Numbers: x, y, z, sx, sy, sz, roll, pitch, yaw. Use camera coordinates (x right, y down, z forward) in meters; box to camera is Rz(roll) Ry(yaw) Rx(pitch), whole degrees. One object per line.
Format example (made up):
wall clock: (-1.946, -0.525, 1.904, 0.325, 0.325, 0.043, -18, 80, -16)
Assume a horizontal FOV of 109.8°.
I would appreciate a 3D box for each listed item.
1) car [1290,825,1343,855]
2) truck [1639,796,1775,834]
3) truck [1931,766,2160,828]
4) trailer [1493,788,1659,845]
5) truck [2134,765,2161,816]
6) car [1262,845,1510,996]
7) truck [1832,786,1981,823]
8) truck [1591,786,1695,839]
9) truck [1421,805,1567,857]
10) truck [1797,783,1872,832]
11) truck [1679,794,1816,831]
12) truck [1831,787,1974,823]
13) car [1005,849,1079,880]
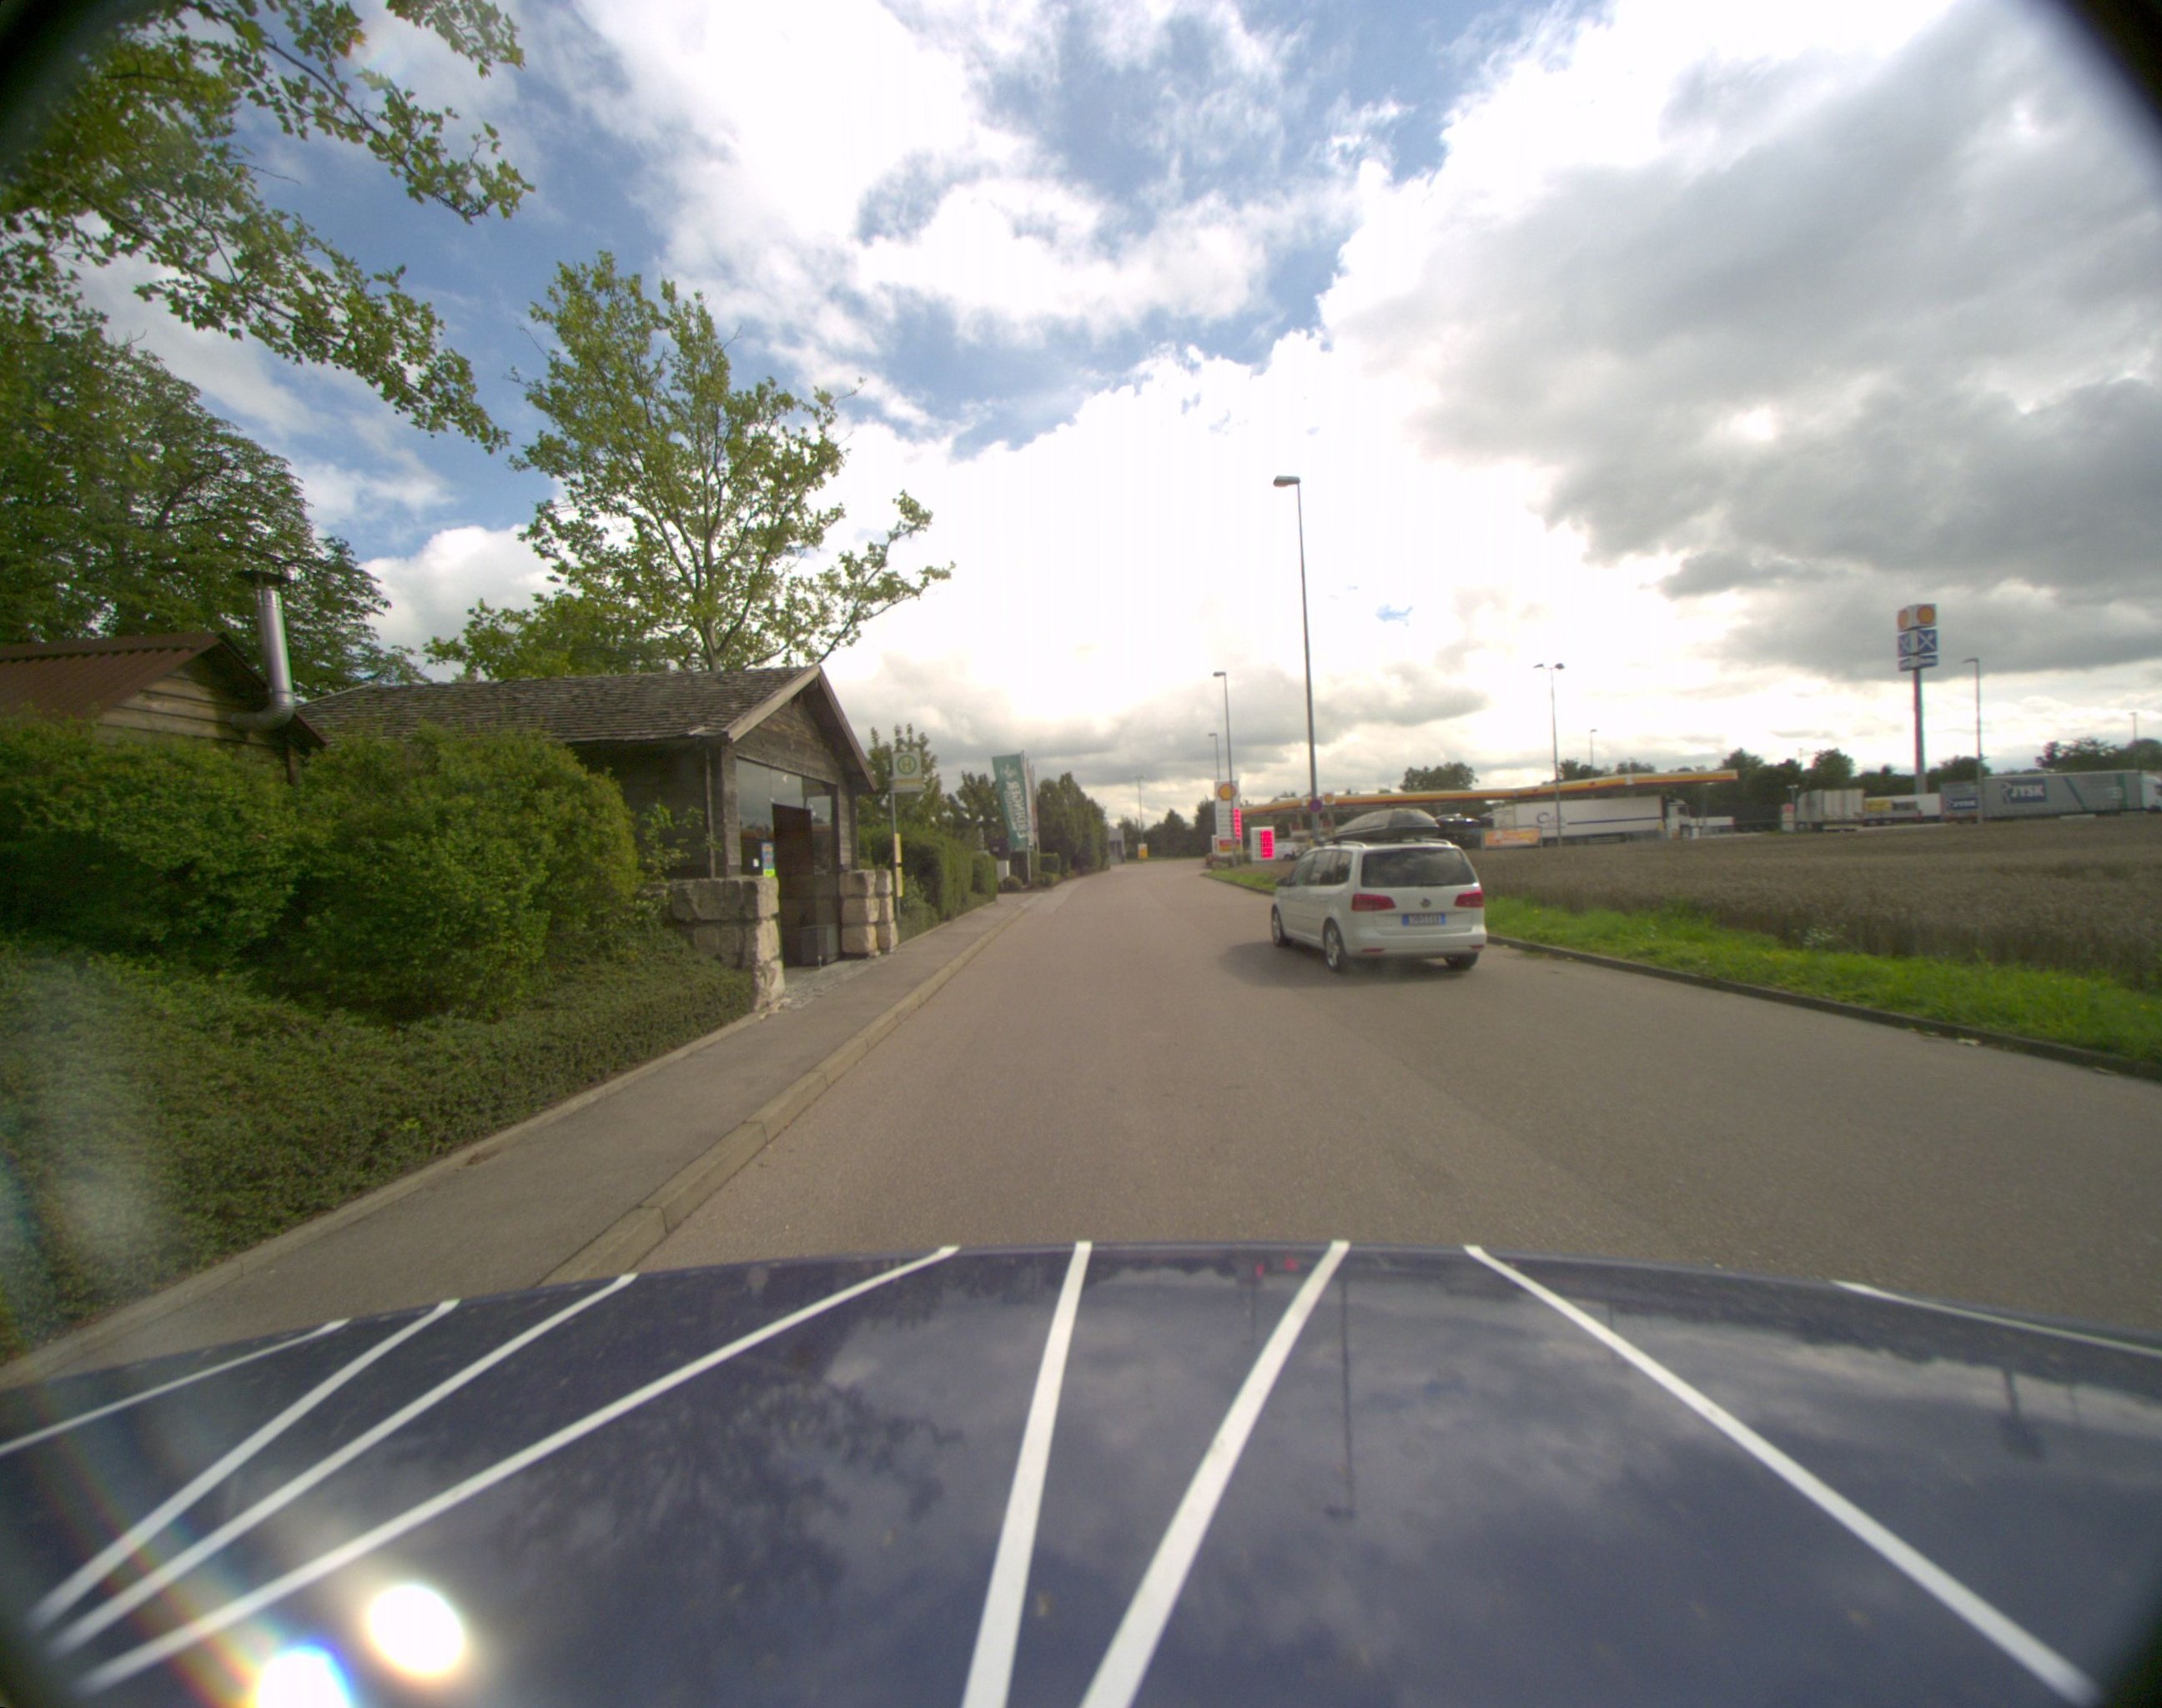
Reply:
car: (23.801, -1.424, 76.637, 5.819, 2.770, 2.219, -3, 0, -40)
truck: (76.974, -4.765, 94.004, 12.774, 3.871, 2.829, -2, 2, 36)
truck: (73.020, -4.282, 57.590, 15.457, 3.871, 2.822, -3, 2, -6)
trailer: (41.196, -3.111, 63.305, 12.846, 4.001, 2.711, -3, 0, -8)
truck: (91.481, -5.344, 59.905, 15.458, 3.871, 2.822, -3, 2, -7)
car: (3.933, 0.743, 10.588, 1.703, 1.655, 4.031, -2, 0, -2)
truck: (106.680, -6.315, 98.606, 12.774, 3.871, 2.829, -2, 2, 36)
truck: (47.436, -3.466, 64.209, 7.168, 4.001, 2.711, -3, 0, -8)
truck: (36.825, -2.067, 67.659, 13.265, 3.901, 2.748, -3, 2, -16)
truck: (70.800, -4.338, 71.736, 2.955, 4.089, 14.774, -2, 2, 37)
truck: (84.508, -5.159, 96.846, 12.978, 3.871, 2.829, -2, 2, 38)
truck: (110.654, -6.522, 102.723, 12.774, 3.871, 2.829, -2, 2, 36)
car: (-2.475, 0.649, 48.335, 4.357, 1.706, 1.658, -3, 0, 10)
